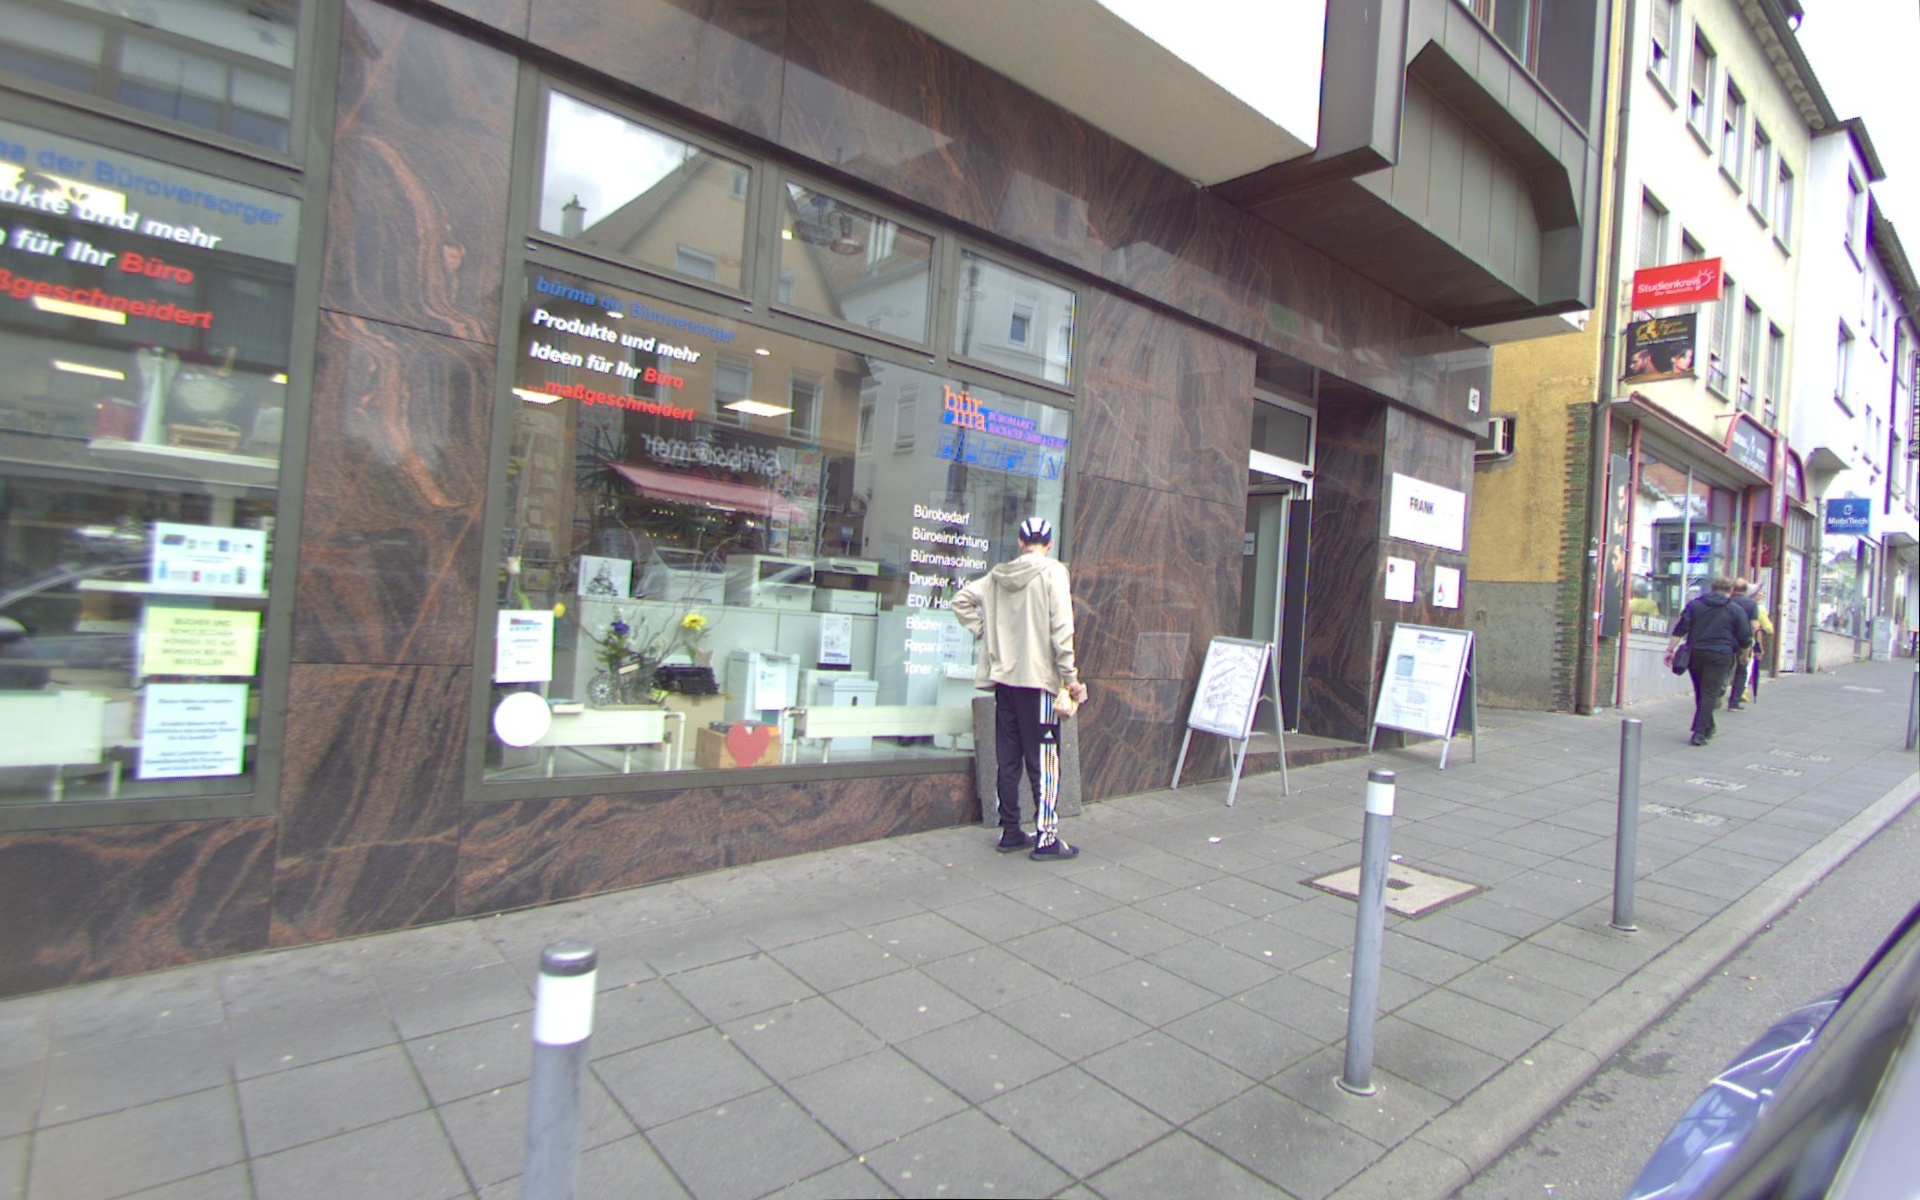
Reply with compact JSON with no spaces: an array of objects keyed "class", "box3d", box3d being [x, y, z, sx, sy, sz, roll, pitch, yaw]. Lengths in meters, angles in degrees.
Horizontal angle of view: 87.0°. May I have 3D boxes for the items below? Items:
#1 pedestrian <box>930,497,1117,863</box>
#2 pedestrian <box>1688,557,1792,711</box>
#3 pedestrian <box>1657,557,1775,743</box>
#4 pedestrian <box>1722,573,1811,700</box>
[{"class":"pedestrian","box3d":[0.317,0.360,5.168,0.663,1.709,0.535,7,4,44]},{"class":"pedestrian","box3d":[9.624,0.398,12.488,0.771,1.774,0.713,1,5,-40]},{"class":"pedestrian","box3d":[7.674,0.473,10.279,0.773,1.774,0.713,1,3,-40]},{"class":"pedestrian","box3d":[11.080,0.483,13.904,0.820,1.651,0.713,1,3,-40]}]
